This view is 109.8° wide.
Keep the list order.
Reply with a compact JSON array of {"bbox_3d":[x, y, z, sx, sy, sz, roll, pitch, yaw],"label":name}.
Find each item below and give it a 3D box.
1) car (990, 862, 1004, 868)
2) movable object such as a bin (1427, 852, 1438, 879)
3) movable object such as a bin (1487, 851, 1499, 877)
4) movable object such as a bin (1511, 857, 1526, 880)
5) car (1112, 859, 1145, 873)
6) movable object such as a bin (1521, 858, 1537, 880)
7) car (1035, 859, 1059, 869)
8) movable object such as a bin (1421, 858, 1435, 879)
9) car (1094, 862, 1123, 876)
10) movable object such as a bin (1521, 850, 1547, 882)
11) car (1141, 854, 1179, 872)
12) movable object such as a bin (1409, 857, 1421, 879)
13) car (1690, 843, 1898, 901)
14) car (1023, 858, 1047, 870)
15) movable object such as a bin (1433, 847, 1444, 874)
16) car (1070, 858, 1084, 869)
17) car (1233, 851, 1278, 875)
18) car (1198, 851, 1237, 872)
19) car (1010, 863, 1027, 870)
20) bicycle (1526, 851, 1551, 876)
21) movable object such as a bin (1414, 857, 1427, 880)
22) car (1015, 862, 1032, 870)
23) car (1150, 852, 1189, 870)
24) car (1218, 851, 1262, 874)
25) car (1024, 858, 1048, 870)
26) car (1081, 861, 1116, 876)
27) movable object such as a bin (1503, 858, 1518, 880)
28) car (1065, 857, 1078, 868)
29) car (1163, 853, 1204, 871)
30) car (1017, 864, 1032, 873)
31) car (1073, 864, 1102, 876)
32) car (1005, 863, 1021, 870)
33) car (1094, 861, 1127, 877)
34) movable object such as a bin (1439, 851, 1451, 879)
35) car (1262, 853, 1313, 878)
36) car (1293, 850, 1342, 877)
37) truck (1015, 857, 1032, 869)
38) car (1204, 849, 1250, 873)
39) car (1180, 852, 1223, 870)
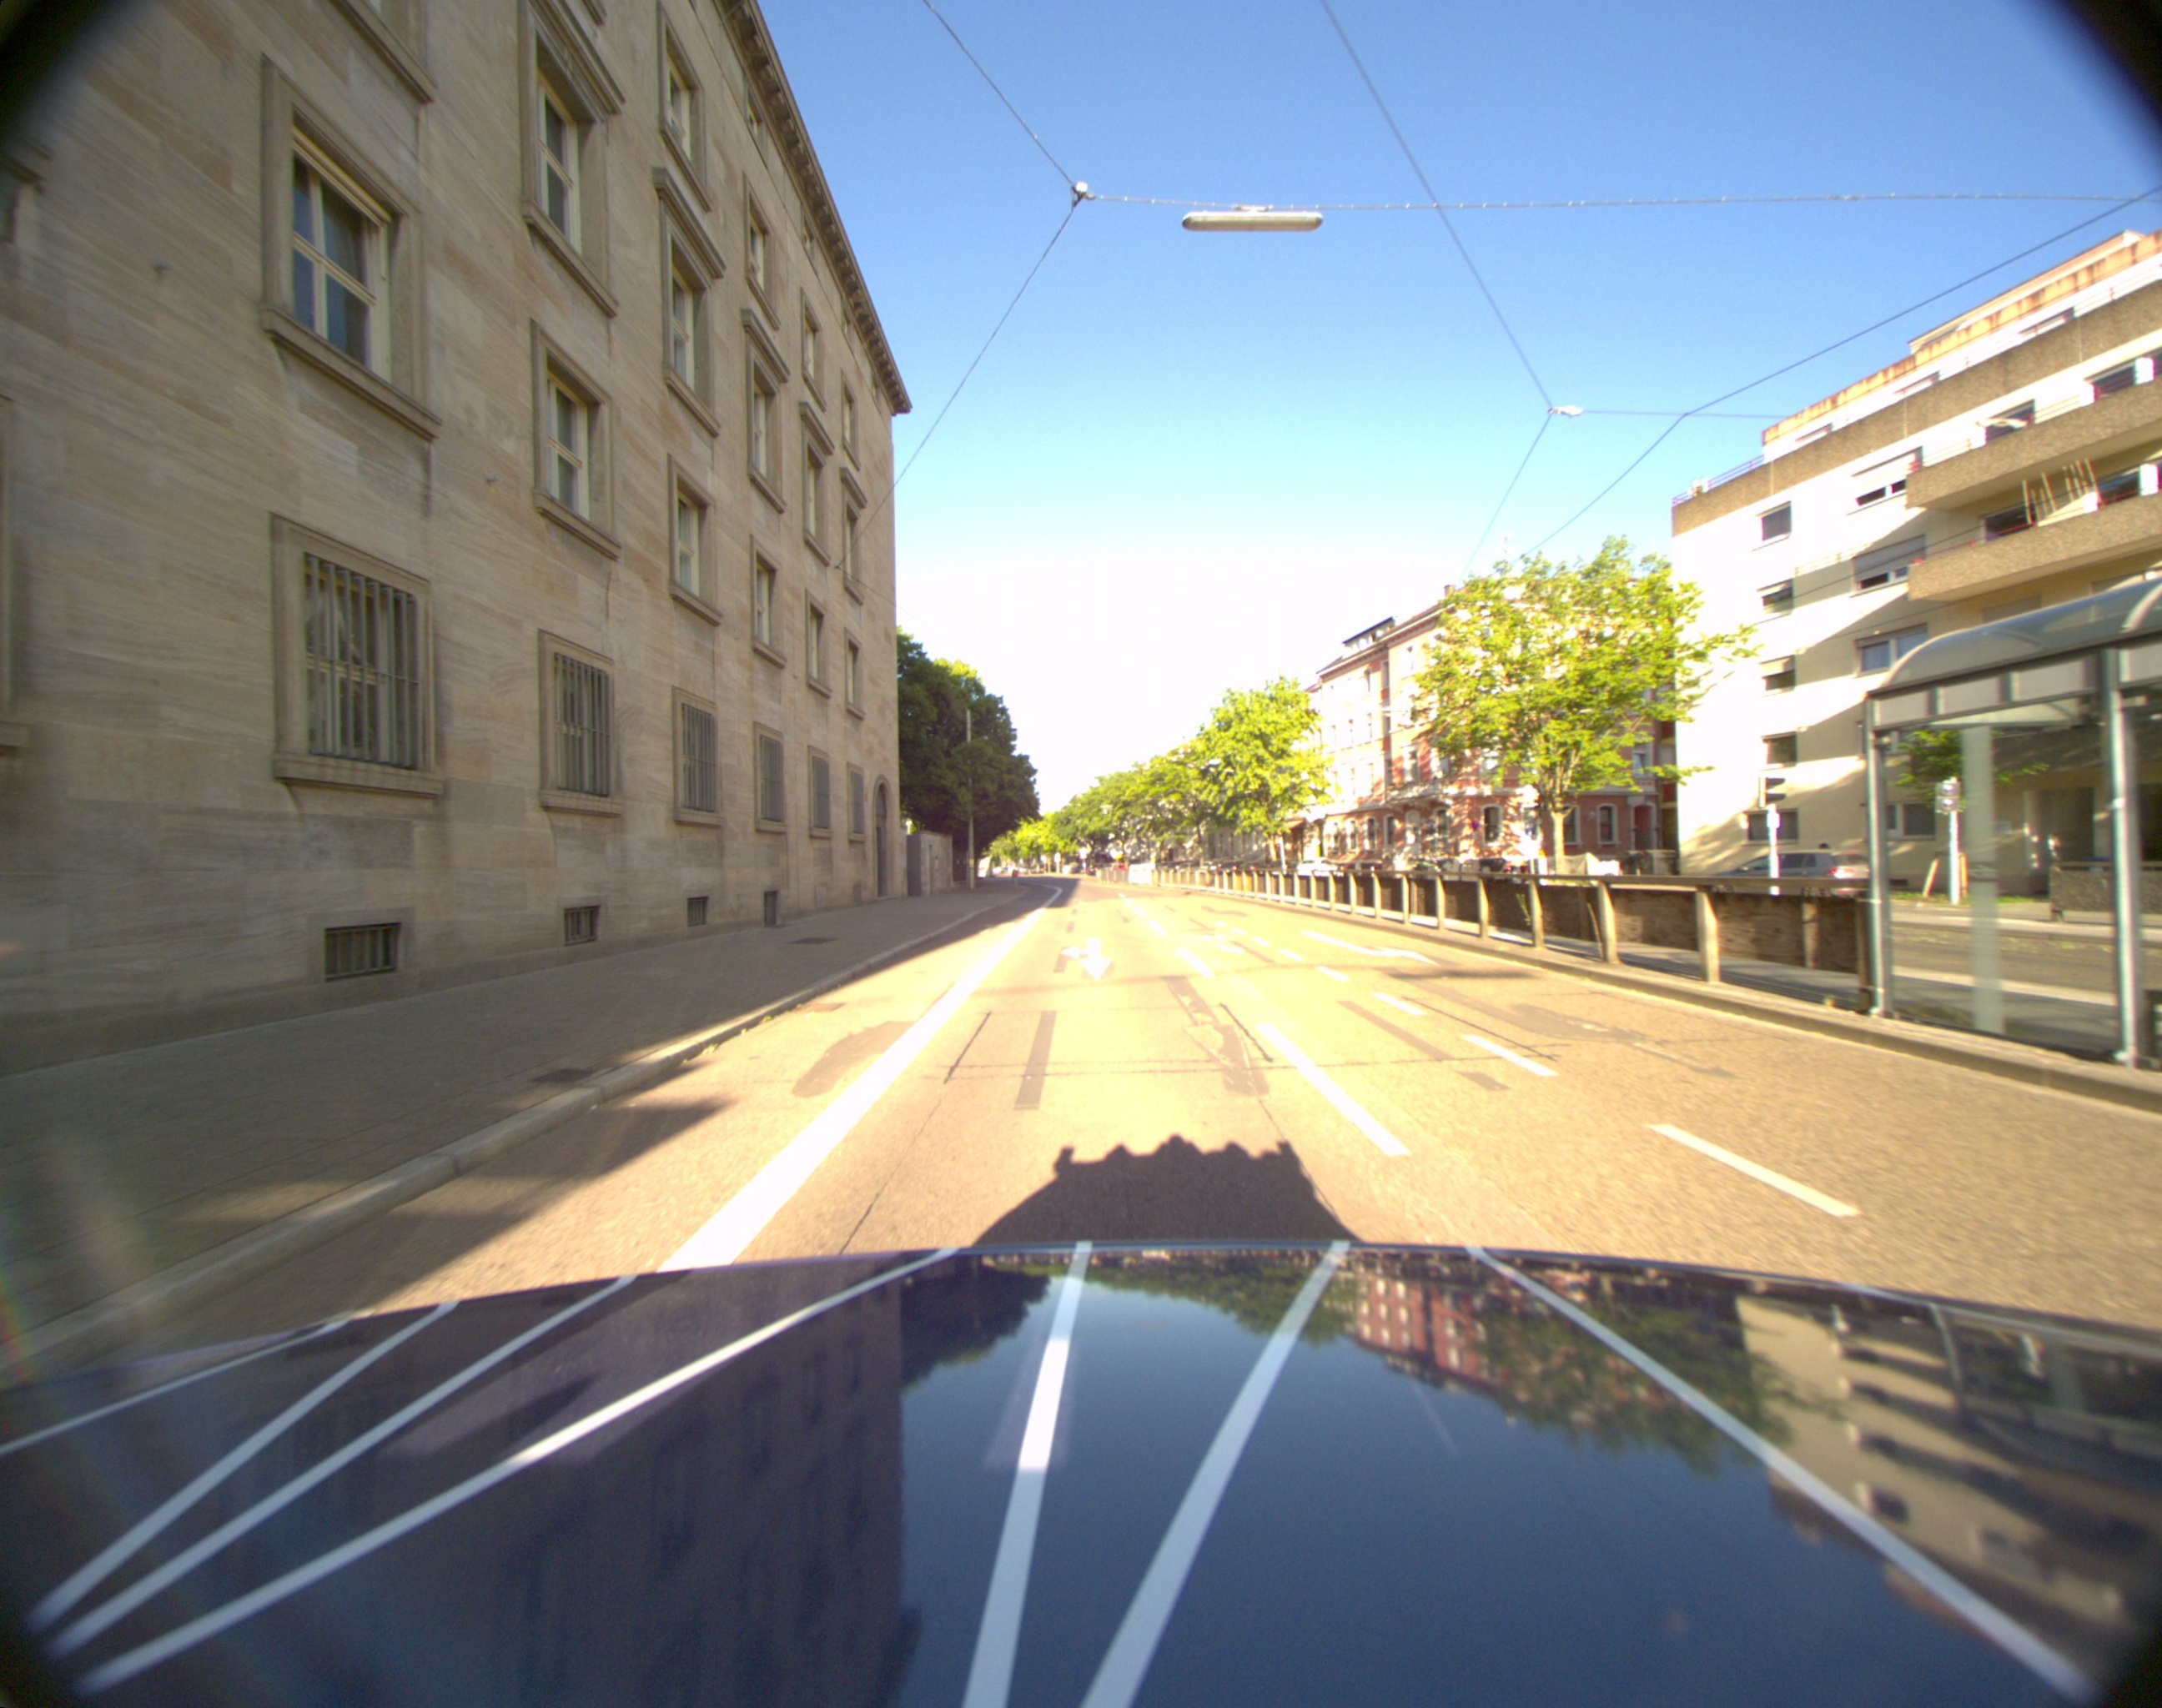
[{"bbox_3d":[-23.976,3.035,216.198,3.624,1.492,1.502,-4,1,-18],"label":"car"},{"bbox_3d":[18.538,0.593,40.105,0.380,1.418,0.387,-1,1,0],"label":"movable object such as a bin"},{"bbox_3d":[21.335,0.526,39.357,0.380,1.304,0.387,-1,1,-6],"label":"movable object such as a bin"},{"bbox_3d":[21.269,0.690,36.905,0.380,1.090,0.552,-1,2,-6],"label":"movable object such as a bin"},{"bbox_3d":[6.049,1.514,97.279,4.208,1.549,1.636,-4,1,-41],"label":"car"},{"bbox_3d":[21.733,0.705,36.861,0.448,1.028,0.552,-1,2,-6],"label":"movable object such as a bin"},{"bbox_3d":[-6.533,1.894,145.964,4.105,1.561,1.670,-4,1,-18],"label":"car"},{"bbox_3d":[17.913,0.757,39.224,0.380,1.062,0.639,-1,0,0],"label":"movable object such as a bin"},{"bbox_3d":[3.682,2.021,102.472,1.744,1.511,3.772,-2,2,44],"label":"car"},{"bbox_3d":[21.374,0.570,35.853,0.427,1.450,1.146,-1,2,-6],"label":"movable object such as a bin"},{"bbox_3d":[8.849,0.992,84.819,4.208,1.788,1.781,-4,2,-41],"label":"car"},{"bbox_3d":[17.859,0.745,40.628,0.380,1.196,0.639,-1,0,0],"label":"movable object such as a bin"},{"bbox_3d":[20.711,0.486,22.352,1.711,1.402,4.289,-4,0,-8],"label":"car"},{"bbox_3d":[-9.200,2.003,152.128,4.311,1.940,1.670,-4,1,-18],"label":"car"},{"bbox_3d":[18.661,0.333,39.632,0.380,1.418,0.386,-1,1,0],"label":"movable object such as a bin"},{"bbox_3d":[-0.756,1.665,130.188,1.673,1.886,3.211,-1,0,-13],"label":"car"},{"bbox_3d":[13.714,0.673,59.514,1.631,1.607,3.993,-3,1,43],"label":"car"},{"bbox_3d":[12.317,0.676,68.516,3.286,1.524,1.703,-5,2,-44],"label":"car"},{"bbox_3d":[-15.229,3.033,185.395,3.775,1.584,1.670,-4,1,-18],"label":"car"},{"bbox_3d":[20.132,0.410,33.458,0.264,1.110,1.405,-1,0,0],"label":"bicycle"},{"bbox_3d":[17.849,0.756,39.941,0.380,1.234,0.639,-1,0,0],"label":"movable object such as a bin"},{"bbox_3d":[-13.709,2.795,181.592,3.775,1.584,1.670,-4,1,-18],"label":"car"},{"bbox_3d":[9.162,0.699,78.296,3.877,1.645,1.768,-3,1,-41],"label":"car"},{"bbox_3d":[13.017,0.698,62.237,1.631,1.607,3.993,-3,1,43],"label":"car"},{"bbox_3d":[-8.884,1.996,149.476,4.311,1.940,1.670,-4,1,-18],"label":"car"},{"bbox_3d":[2.451,2.004,104.502,4.366,1.704,1.944,-4,2,-36],"label":"car"},{"bbox_3d":[22.244,0.778,39.364,0.380,1.092,0.552,-1,0,-6],"label":"movable object such as a bin"},{"bbox_3d":[-1.631,1.521,133.614,1.673,1.886,3.211,-1,0,-13],"label":"car"},{"bbox_3d":[10.148,0.790,75.060,3.877,1.645,1.768,-3,1,-41],"label":"car"},{"bbox_3d":[-10.295,2.610,137.765,1.878,1.591,4.421,-1,0,-16],"label":"car"},{"bbox_3d":[0.911,2.231,106.800,4.007,1.477,1.777,-4,2,-44],"label":"car"},{"bbox_3d":[-17.957,3.188,201.422,3.775,1.584,1.670,-4,1,-18],"label":"car"},{"bbox_3d":[3.889,1.949,99.284,4.208,1.714,1.780,-5,2,-45],"label":"car"},{"bbox_3d":[18.732,0.565,39.096,0.380,1.418,0.387,-1,1,0],"label":"movable object such as a bin"},{"bbox_3d":[14.979,0.817,54.958,3.929,1.499,1.685,-5,1,-44],"label":"car"},{"bbox_3d":[16.140,0.636,51.755,1.731,1.513,3.923,-3,1,41],"label":"car"},{"bbox_3d":[-13.561,2.144,178.791,3.774,2.409,1.671,-4,1,-13],"label":"truck"},{"bbox_3d":[12.615,0.566,65.516,4.293,1.713,1.703,-5,3,-44],"label":"car"},{"bbox_3d":[11.178,0.626,70.410,3.829,1.477,1.766,-4,2,-41],"label":"car"}]
